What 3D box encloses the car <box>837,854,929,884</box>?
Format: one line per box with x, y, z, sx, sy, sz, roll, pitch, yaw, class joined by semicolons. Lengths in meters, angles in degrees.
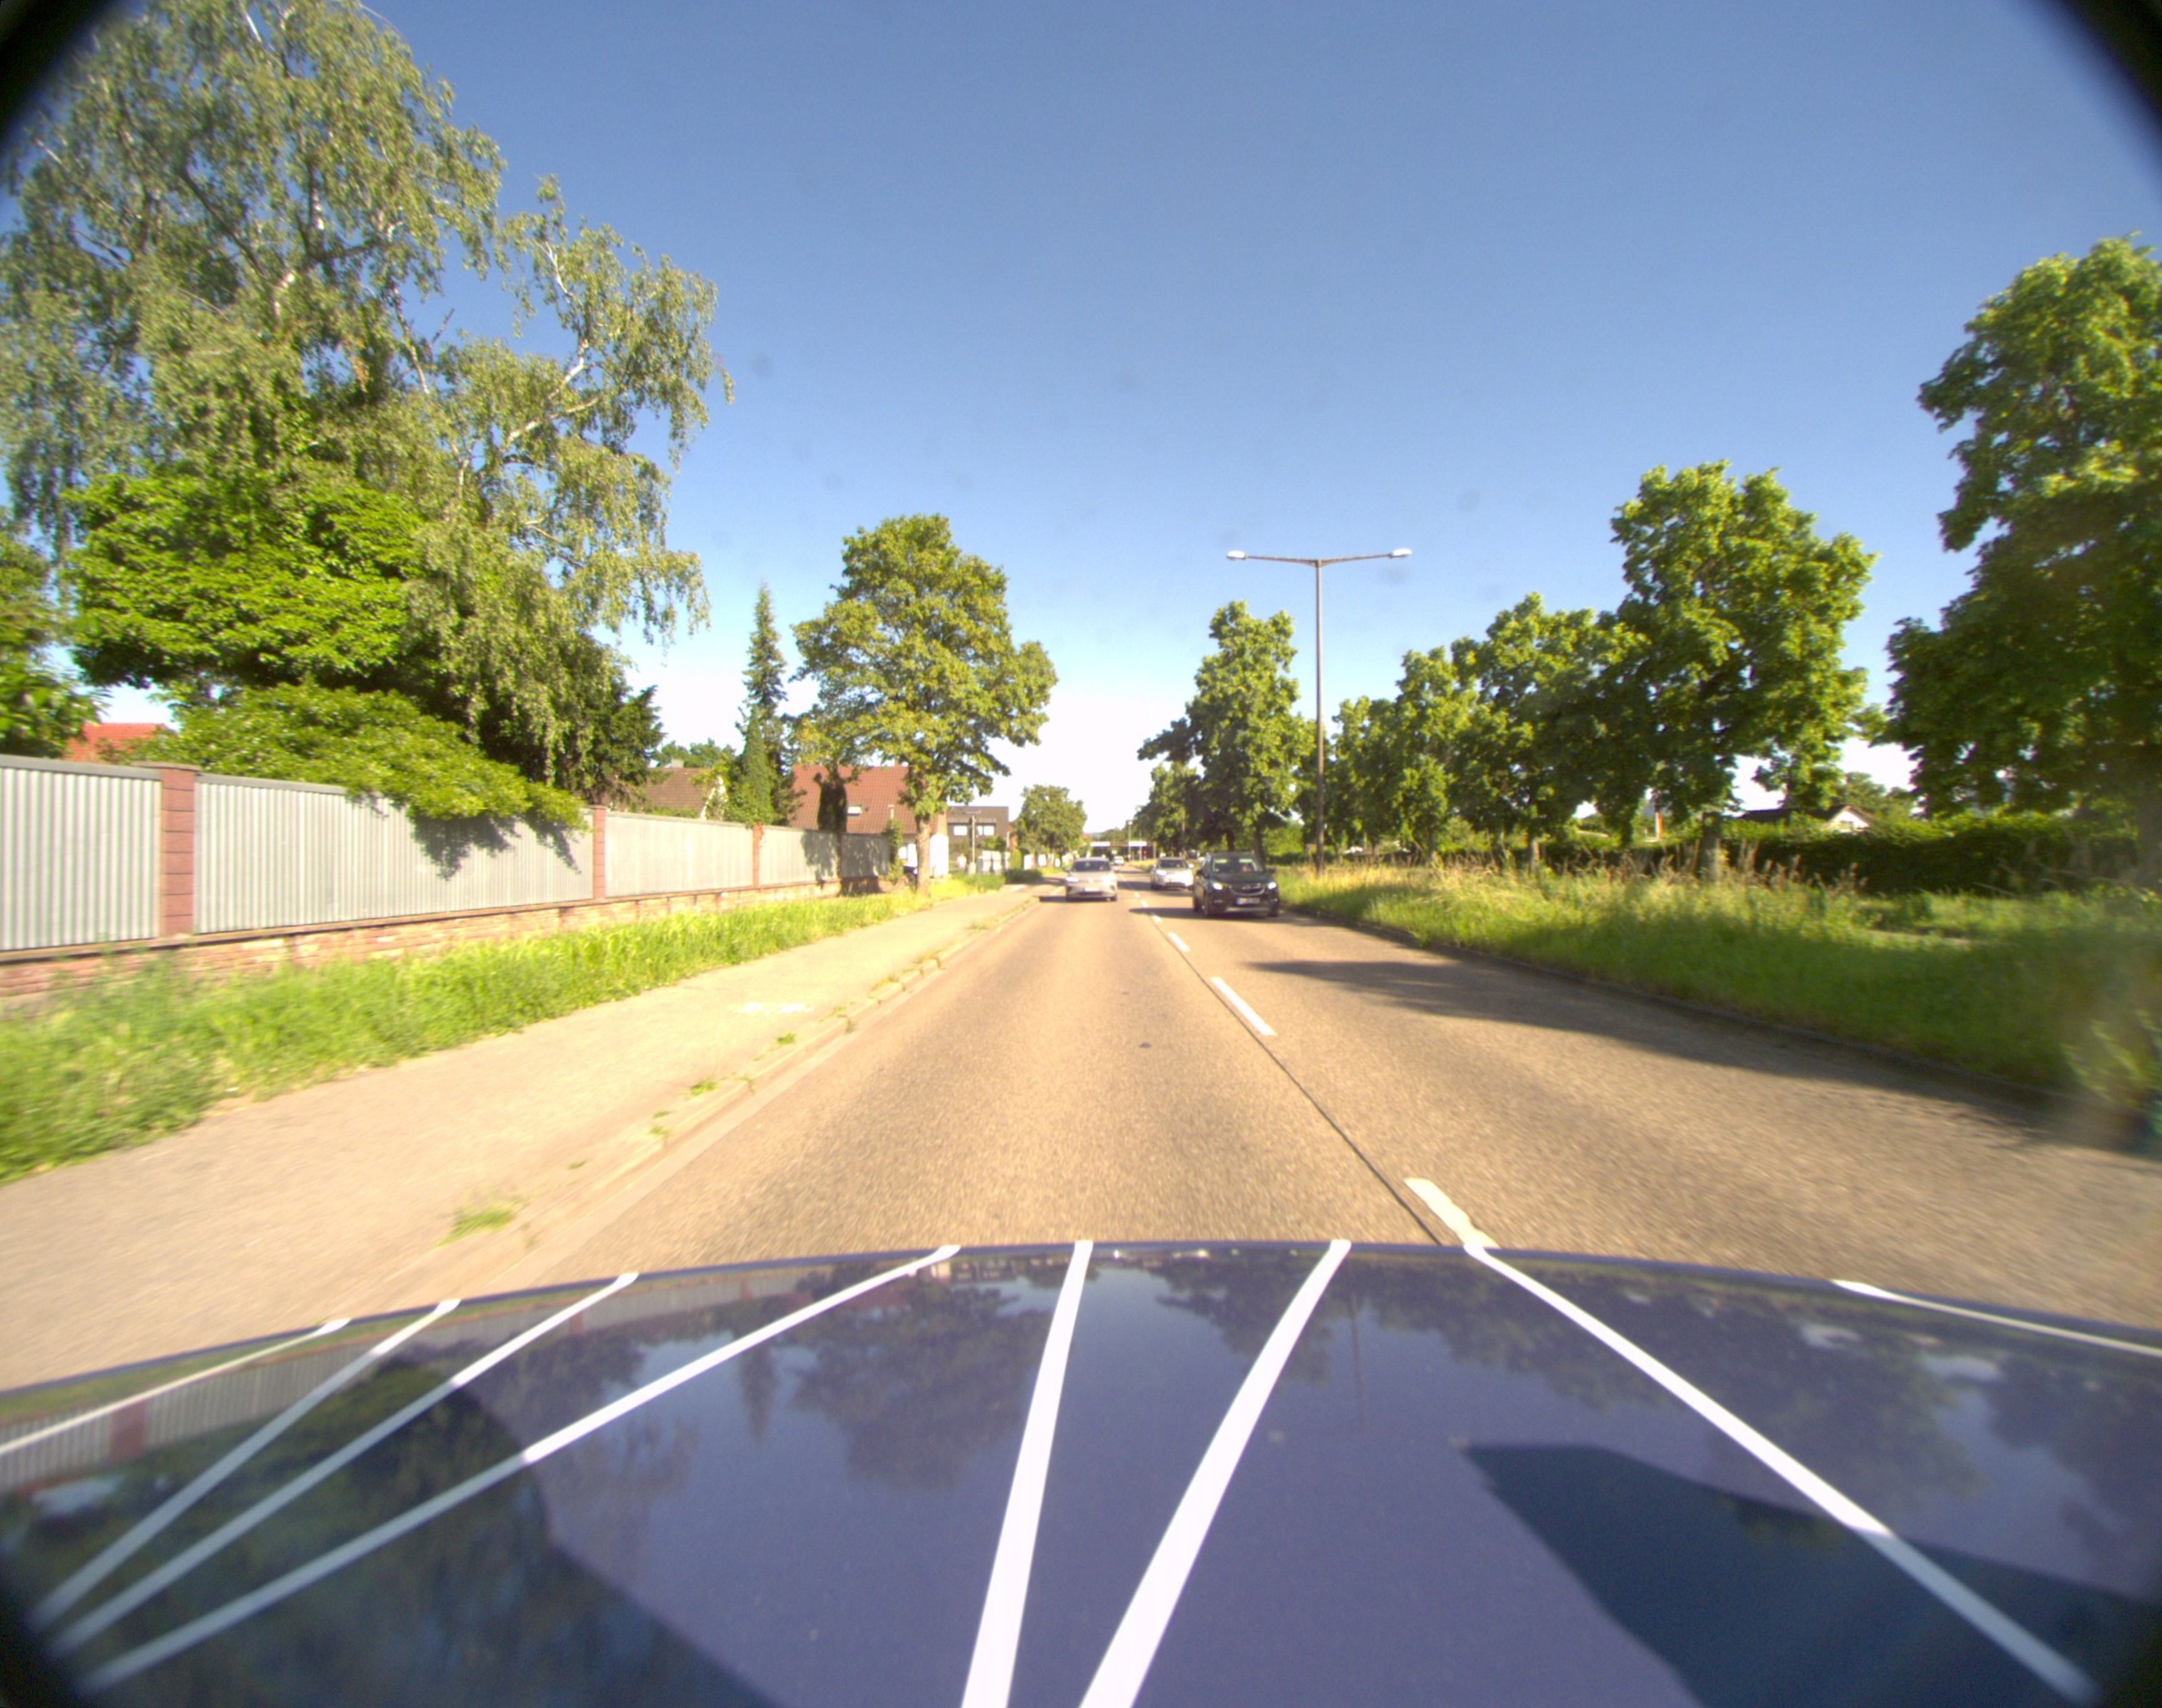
-11.196;0.857;43.220;4.756;1.647;2.070;0;0;-4;car

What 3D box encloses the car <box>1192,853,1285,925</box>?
3.956;0.832;19.703;1.713;1.653;3.857;-1;0;2;car

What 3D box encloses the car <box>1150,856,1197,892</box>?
4.388;0.902;36.545;1.830;1.604;4.092;-1;0;1;car

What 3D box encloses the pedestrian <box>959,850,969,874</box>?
-8.279;0.590;53.874;0.630;1.698;0.613;-1;1;-11;pedestrian

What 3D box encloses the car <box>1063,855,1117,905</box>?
0.394;0.874;27.421;1.801;1.664;4.240;0;0;3;car
